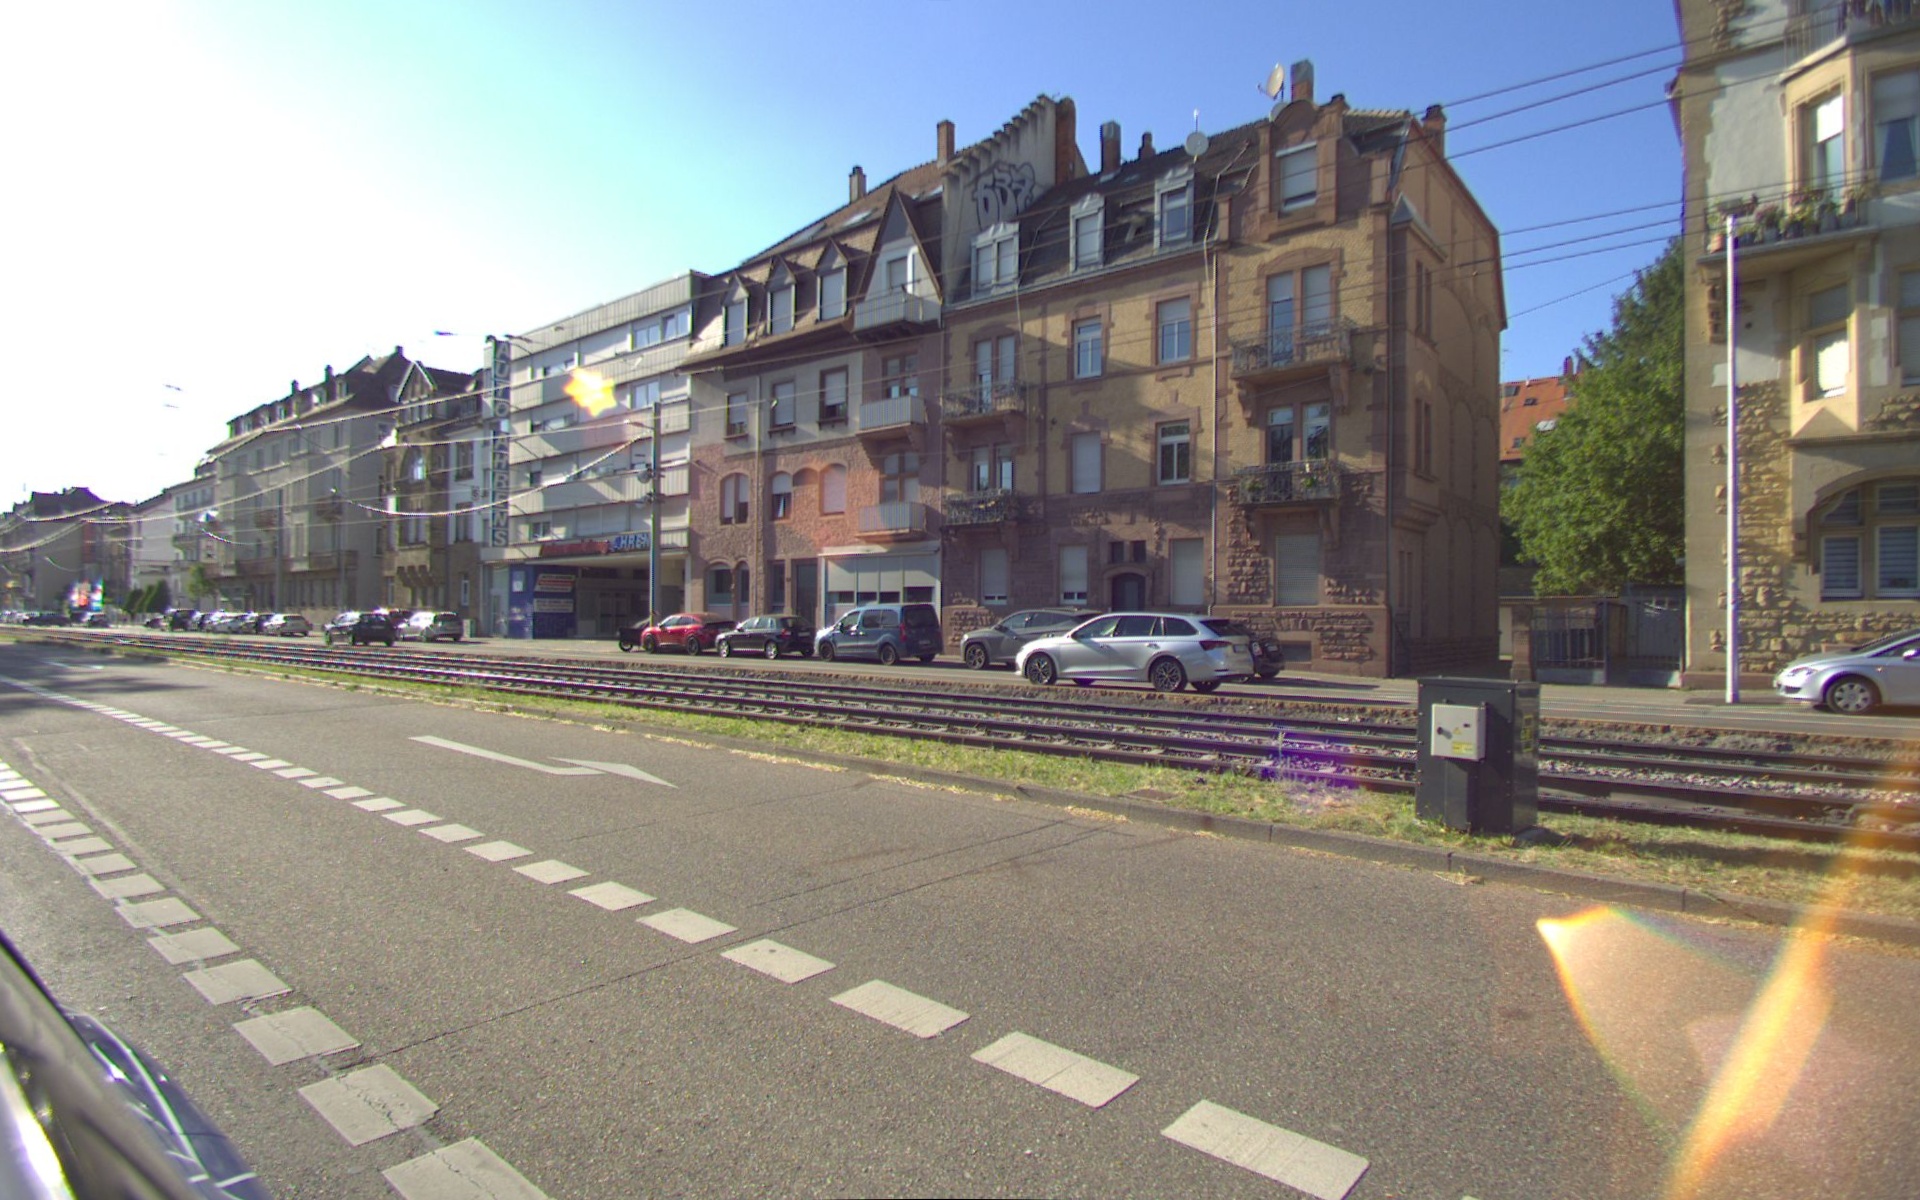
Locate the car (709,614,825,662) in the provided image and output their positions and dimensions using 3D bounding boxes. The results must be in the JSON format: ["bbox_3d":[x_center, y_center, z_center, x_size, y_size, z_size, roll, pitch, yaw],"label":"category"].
[{"bbox_3d":[-6.503,1.242,33.883,3.924,1.448,1.678,-1,1,39],"label":"car"}]

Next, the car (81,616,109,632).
[{"bbox_3d":[-88.514,2.408,103.521,3.386,1.583,1.663,-1,0,40],"label":"car"}]

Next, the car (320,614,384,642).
[{"bbox_3d":[-35.240,1.597,58.633,3.720,1.507,1.737,-1,0,34],"label":"car"}]

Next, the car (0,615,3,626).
[{"bbox_3d":[-141.987,3.046,148.648,3.447,1.602,1.603,-1,0,40],"label":"car"}]

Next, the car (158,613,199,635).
[{"bbox_3d":[-64.093,1.922,82.986,3.912,1.750,1.852,-1,0,40],"label":"car"}]

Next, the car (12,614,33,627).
[{"bbox_3d":[-119.381,2.654,128.869,3.447,1.602,1.603,-1,0,40],"label":"car"}]

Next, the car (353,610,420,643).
[{"bbox_3d":[-31.375,1.444,55.320,4.260,1.700,1.837,-1,0,41],"label":"car"}]

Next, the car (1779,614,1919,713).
[{"bbox_3d":[15.416,0.965,15.620,4.217,1.441,1.693,-1,0,38],"label":"car"}]

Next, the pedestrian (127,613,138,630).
[{"bbox_3d":[-87.303,2.253,106.744,0.677,1.803,0.716,-1,-2,39],"label":"pedestrian"}]

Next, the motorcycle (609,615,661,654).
[{"bbox_3d":[-12.725,1.339,39.678,0.628,1.433,1.836,-2,0,40],"label":"motorcycle"}]

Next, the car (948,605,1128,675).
[{"bbox_3d":[2.000,1.017,26.770,4.498,1.635,1.838,-1,1,39],"label":"car"}]

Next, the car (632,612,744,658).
[{"bbox_3d":[-10.005,1.241,37.137,4.206,1.510,1.838,-1,1,39],"label":"car"}]

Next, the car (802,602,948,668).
[{"bbox_3d":[-2.624,1.009,30.599,4.417,1.772,1.866,-1,1,42],"label":"car"}]

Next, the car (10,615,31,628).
[{"bbox_3d":[-123.537,2.811,133.006,3.447,1.602,1.603,-1,0,40],"label":"car"}]

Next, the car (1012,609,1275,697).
[{"bbox_3d":[3.353,0.924,18.922,4.533,1.468,1.803,-1,-2,38],"label":"car"}]

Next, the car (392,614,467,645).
[{"bbox_3d":[-27.203,1.485,51.850,4.377,1.510,1.838,-1,0,39],"label":"car"}]

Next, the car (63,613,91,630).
[{"bbox_3d":[-96.190,2.314,110.256,3.878,1.800,1.706,-1,0,40],"label":"car"}]

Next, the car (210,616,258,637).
[{"bbox_3d":[-51.731,1.872,72.081,3.529,1.457,1.625,-1,0,33],"label":"car"}]

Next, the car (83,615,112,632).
[{"bbox_3d":[-84.801,2.301,99.457,3.405,1.644,1.656,-1,0,40],"label":"car"}]

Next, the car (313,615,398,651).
[{"bbox_3d":[-26.178,1.403,43.794,4.161,1.468,1.802,-1,-2,39],"label":"car"}]

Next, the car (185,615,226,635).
[{"bbox_3d":[-59.625,1.959,79.935,3.820,1.490,1.779,-1,0,40],"label":"car"}]

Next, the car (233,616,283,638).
[{"bbox_3d":[-48.380,1.819,69.740,3.818,1.441,1.780,-1,0,38],"label":"car"}]

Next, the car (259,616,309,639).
[{"bbox_3d":[-44.317,1.785,66.340,3.820,1.490,1.779,-1,0,40],"label":"car"}]
